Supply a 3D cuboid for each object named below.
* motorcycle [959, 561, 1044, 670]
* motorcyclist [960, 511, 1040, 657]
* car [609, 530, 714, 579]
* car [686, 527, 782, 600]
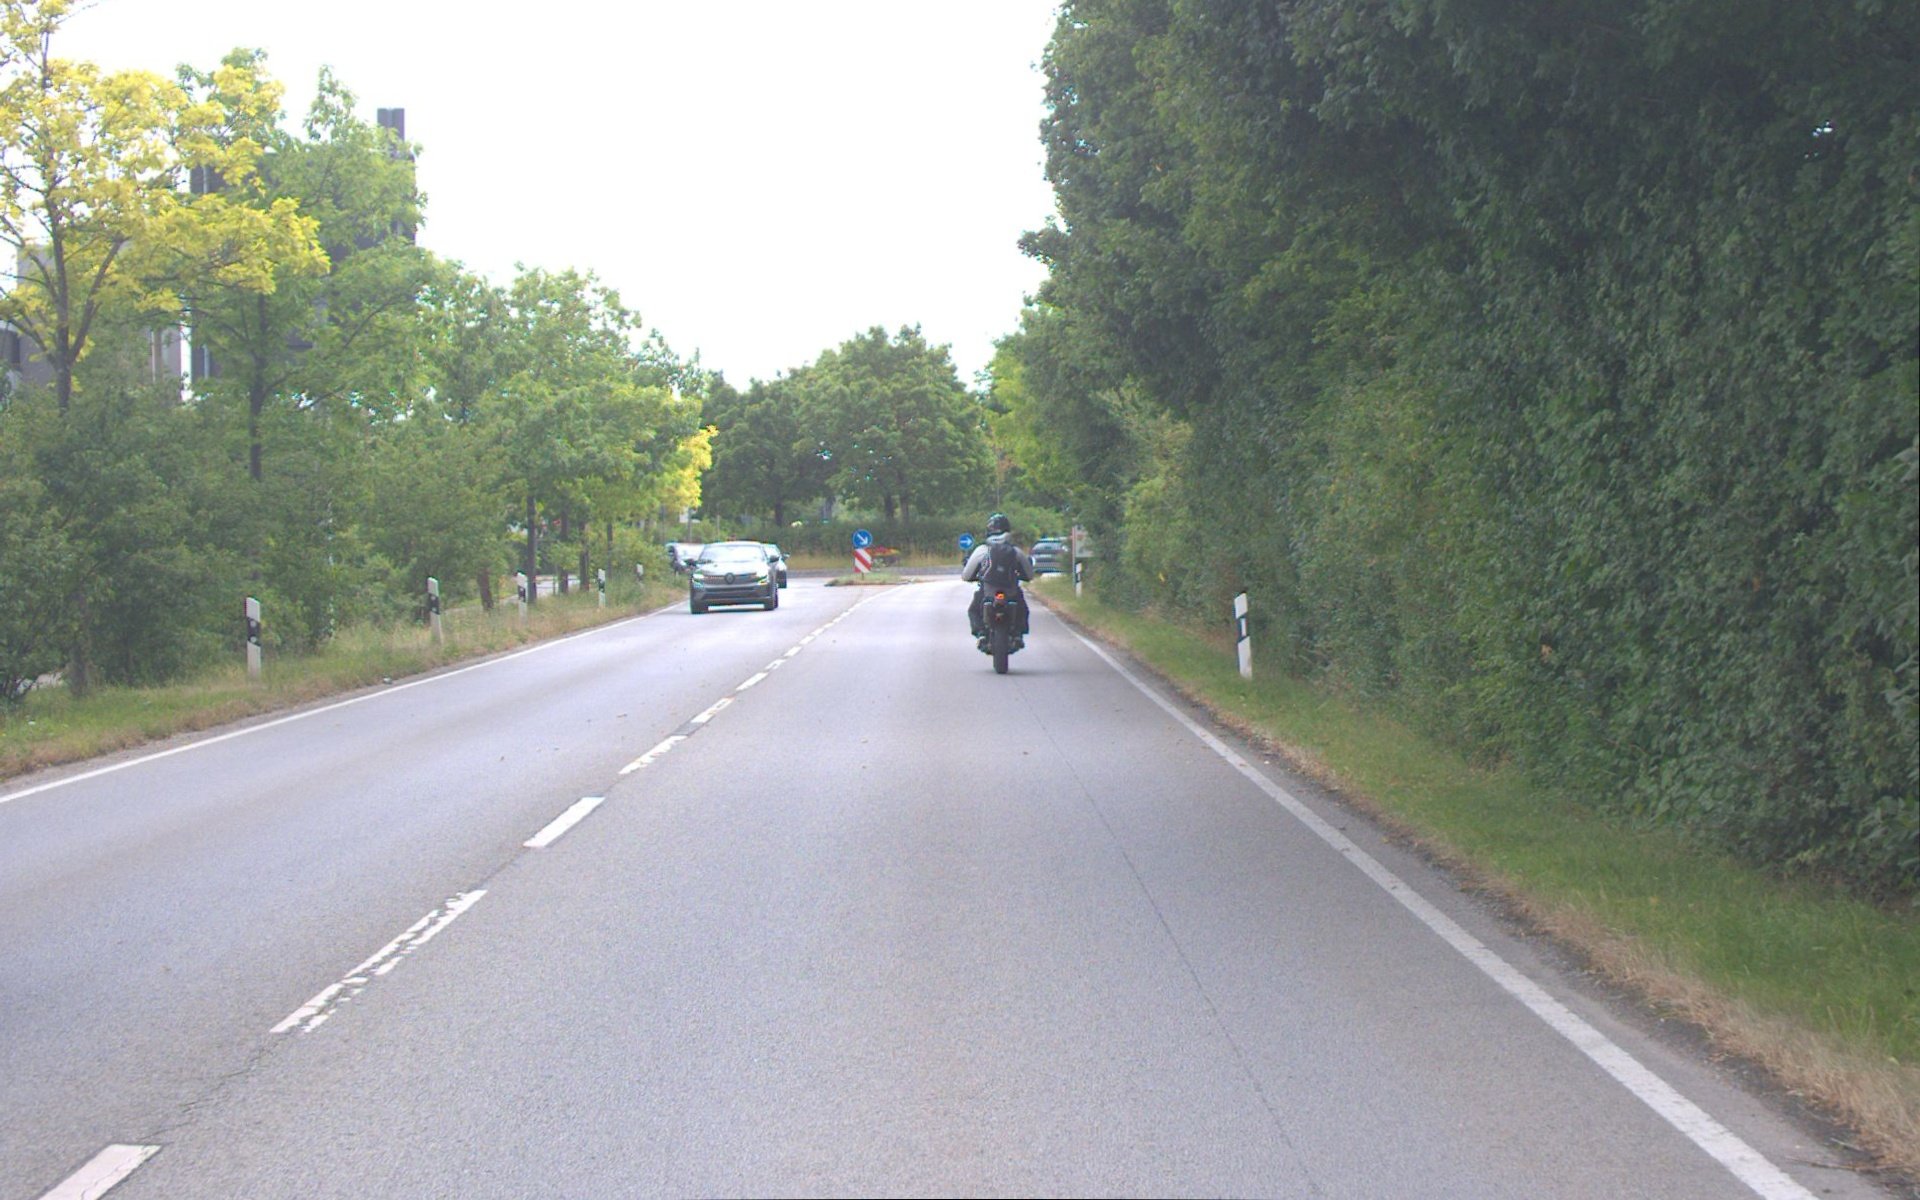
[{"bbox_3d":[0.450,0.158,38.808,0.896,1.154,2.620,-1,1,-1],"label":"motorcycle"},{"bbox_3d":[0.448,-0.193,38.940,0.861,1.618,1.191,-1,1,-1],"label":"motorcyclist"},{"bbox_3d":[-10.965,-1.658,126.178,1.734,1.529,4.093,-5,2,-40],"label":"car"},{"bbox_3d":[-4.884,-0.813,74.759,1.815,1.489,4.204,-2,1,-1],"label":"car"}]
